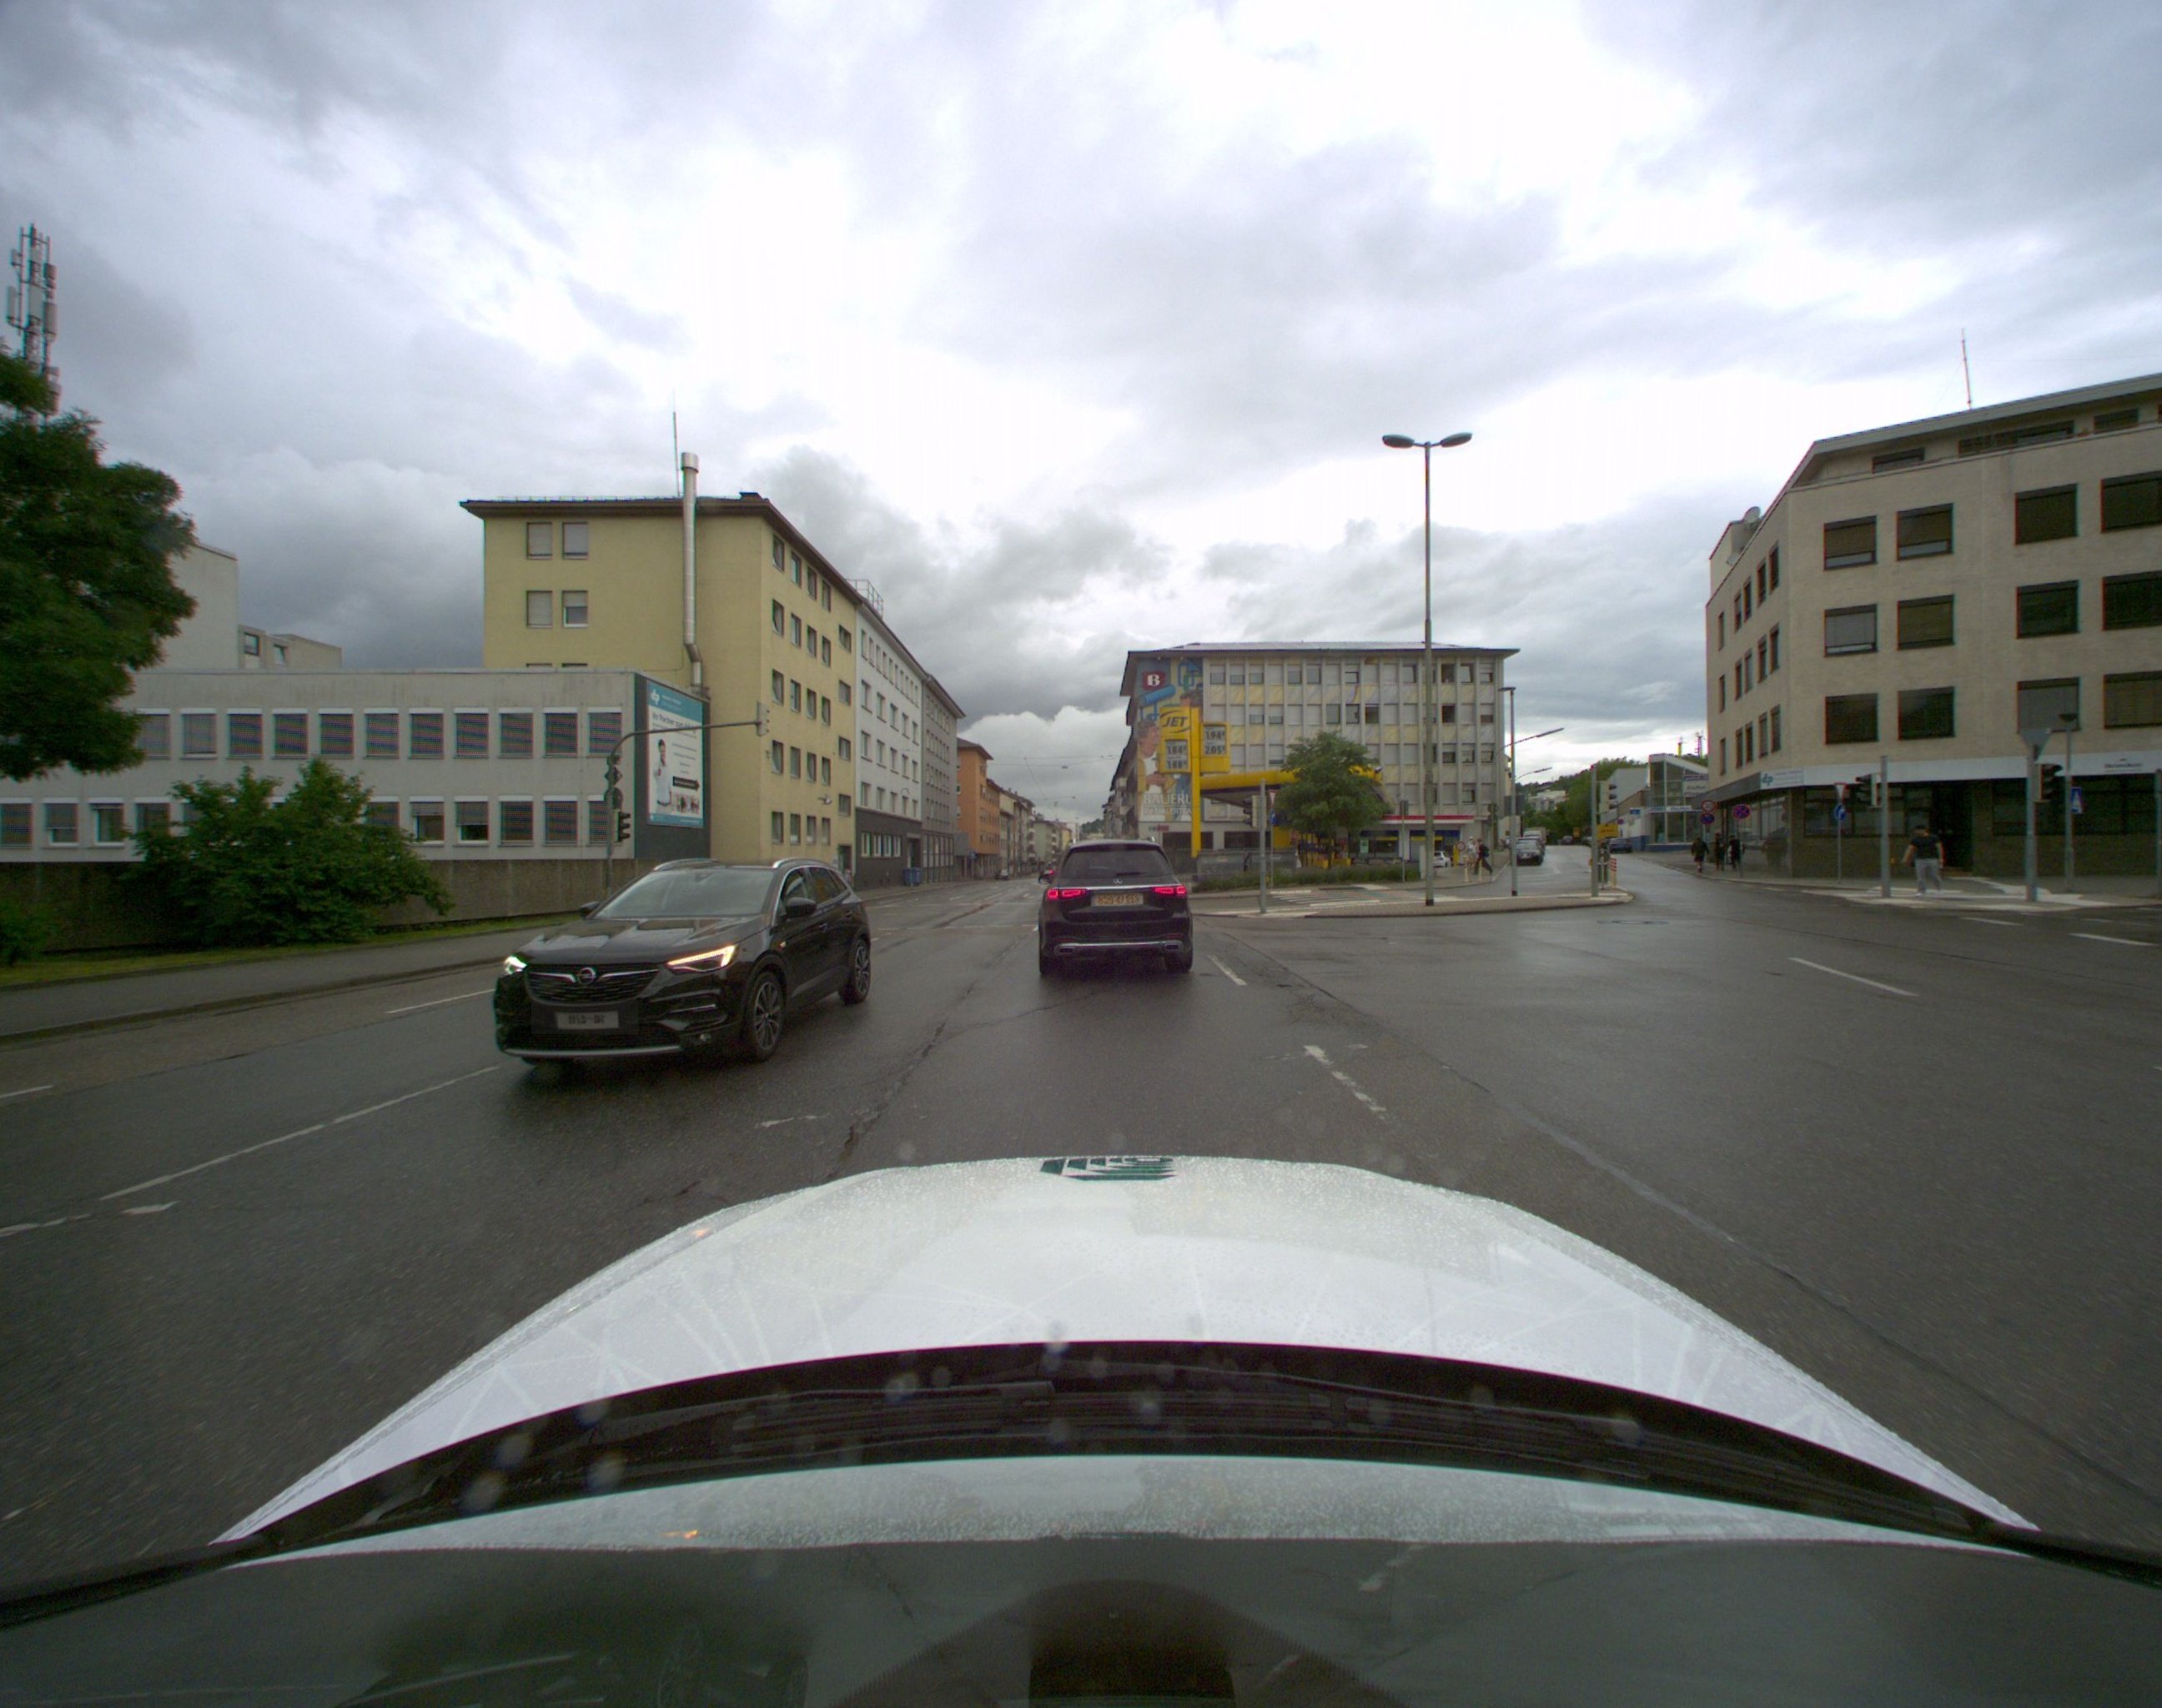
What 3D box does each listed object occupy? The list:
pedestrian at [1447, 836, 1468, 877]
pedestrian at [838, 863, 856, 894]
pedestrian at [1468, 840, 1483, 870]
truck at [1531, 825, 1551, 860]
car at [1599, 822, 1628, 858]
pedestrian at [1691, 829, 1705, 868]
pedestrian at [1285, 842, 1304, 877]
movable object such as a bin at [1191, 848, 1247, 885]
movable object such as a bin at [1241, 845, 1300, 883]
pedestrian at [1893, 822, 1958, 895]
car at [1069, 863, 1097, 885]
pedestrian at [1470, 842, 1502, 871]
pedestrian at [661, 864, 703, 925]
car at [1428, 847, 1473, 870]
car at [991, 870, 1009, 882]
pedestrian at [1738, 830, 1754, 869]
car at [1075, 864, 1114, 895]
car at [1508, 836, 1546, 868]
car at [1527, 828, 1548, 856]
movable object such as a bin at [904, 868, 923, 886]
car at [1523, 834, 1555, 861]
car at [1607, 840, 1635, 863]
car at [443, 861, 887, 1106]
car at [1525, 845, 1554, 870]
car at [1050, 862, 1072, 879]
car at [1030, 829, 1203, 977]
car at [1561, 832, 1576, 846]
[{"bbox_3d":[24.227,0.161,52.406,0.998,2.567,1.153,1,-1,15],"label":"pedestrian"},{"bbox_3d":[-12.902,1.335,44.932,0.714,1.690,0.811,1,-1,2],"label":"pedestrian"},{"bbox_3d":[20.299,0.057,41.913,0.578,1.515,0.474,2,-2,-41],"label":"pedestrian"},{"bbox_3d":[54.729,-1.309,96.947,1.975,3.914,5.518,0,-1,29],"label":"truck"},{"bbox_3d":[57.872,-1.482,88.567,2.354,3.688,5.024,0,-1,30],"label":"car"},{"bbox_3d":[28.390,-0.242,37.471,0.473,1.742,0.578,0,-1,30],"label":"pedestrian"},{"bbox_3d":[9.898,0.262,37.743,0.662,1.585,0.847,1,-1,3],"label":"pedestrian"},{"bbox_3d":[6.108,0.561,36.203,2.148,1.574,1.773,-1,-1,0],"label":"movable object such as a bin"},{"bbox_3d":[8.391,0.455,36.205,2.148,1.555,1.773,-2,-1,0],"label":"movable object such as a bin"},{"bbox_3d":[21.312,0.109,20.561,0.854,1.791,0.773,1,-1,-4],"label":"pedestrian"},{"bbox_3d":[0.165,1.539,63.685,2.069,1.650,4.294,1,-1,0],"label":"car"},{"bbox_3d":[19.602,0.120,39.382,0.922,1.353,1.100,2,-1,-41],"label":"pedestrian"},{"bbox_3d":[-11.449,1.147,23.387,0.714,1.690,0.811,1,-1,2],"label":"pedestrian"},{"bbox_3d":[26.590,0.379,58.499,1.974,1.516,4.446,-3,-3,37],"label":"car"},{"bbox_3d":[-10.514,2.859,105.899,1.886,1.459,4.546,1,-1,-1],"label":"car"},{"bbox_3d":[29.809,-0.202,36.518,0.473,1.742,0.578,0,-1,30],"label":"pedestrian"},{"bbox_3d":[0.721,1.403,46.037,2.069,1.650,4.294,1,-1,0],"label":"car"},{"bbox_3d":[27.811,-0.118,50.777,1.975,1.865,4.607,0,-1,29],"label":"car"},{"bbox_3d":[50.814,-1.337,90.656,1.975,2.974,4.607,0,-1,29],"label":"car"},{"bbox_3d":[-12.239,1.679,59.505,1.073,1.324,1.190,1,-1,0],"label":"movable object such as a bin"},{"bbox_3d":[34.069,-0.465,60.638,1.975,1.865,4.607,0,-1,29],"label":"car"},{"bbox_3d":[50.583,-0.199,76.344,1.974,2.014,4.024,0,-1,31],"label":"car"},{"bbox_3d":[-3.254,0.878,7.516,1.801,1.594,4.296,-1,-1,1],"label":"car"},{"bbox_3d":[37.154,0.319,66.058,1.975,1.865,4.607,0,-1,29],"label":"car"},{"bbox_3d":[-2.042,1.686,83.963,2.069,1.650,4.294,1,-1,0],"label":"car"},{"bbox_3d":[0.444,0.622,12.192,2.069,1.765,4.610,1,-1,0],"label":"car"},{"bbox_3d":[75.726,-2.268,126.588,1.974,2.014,4.024,0,-1,31],"label":"car"}]
